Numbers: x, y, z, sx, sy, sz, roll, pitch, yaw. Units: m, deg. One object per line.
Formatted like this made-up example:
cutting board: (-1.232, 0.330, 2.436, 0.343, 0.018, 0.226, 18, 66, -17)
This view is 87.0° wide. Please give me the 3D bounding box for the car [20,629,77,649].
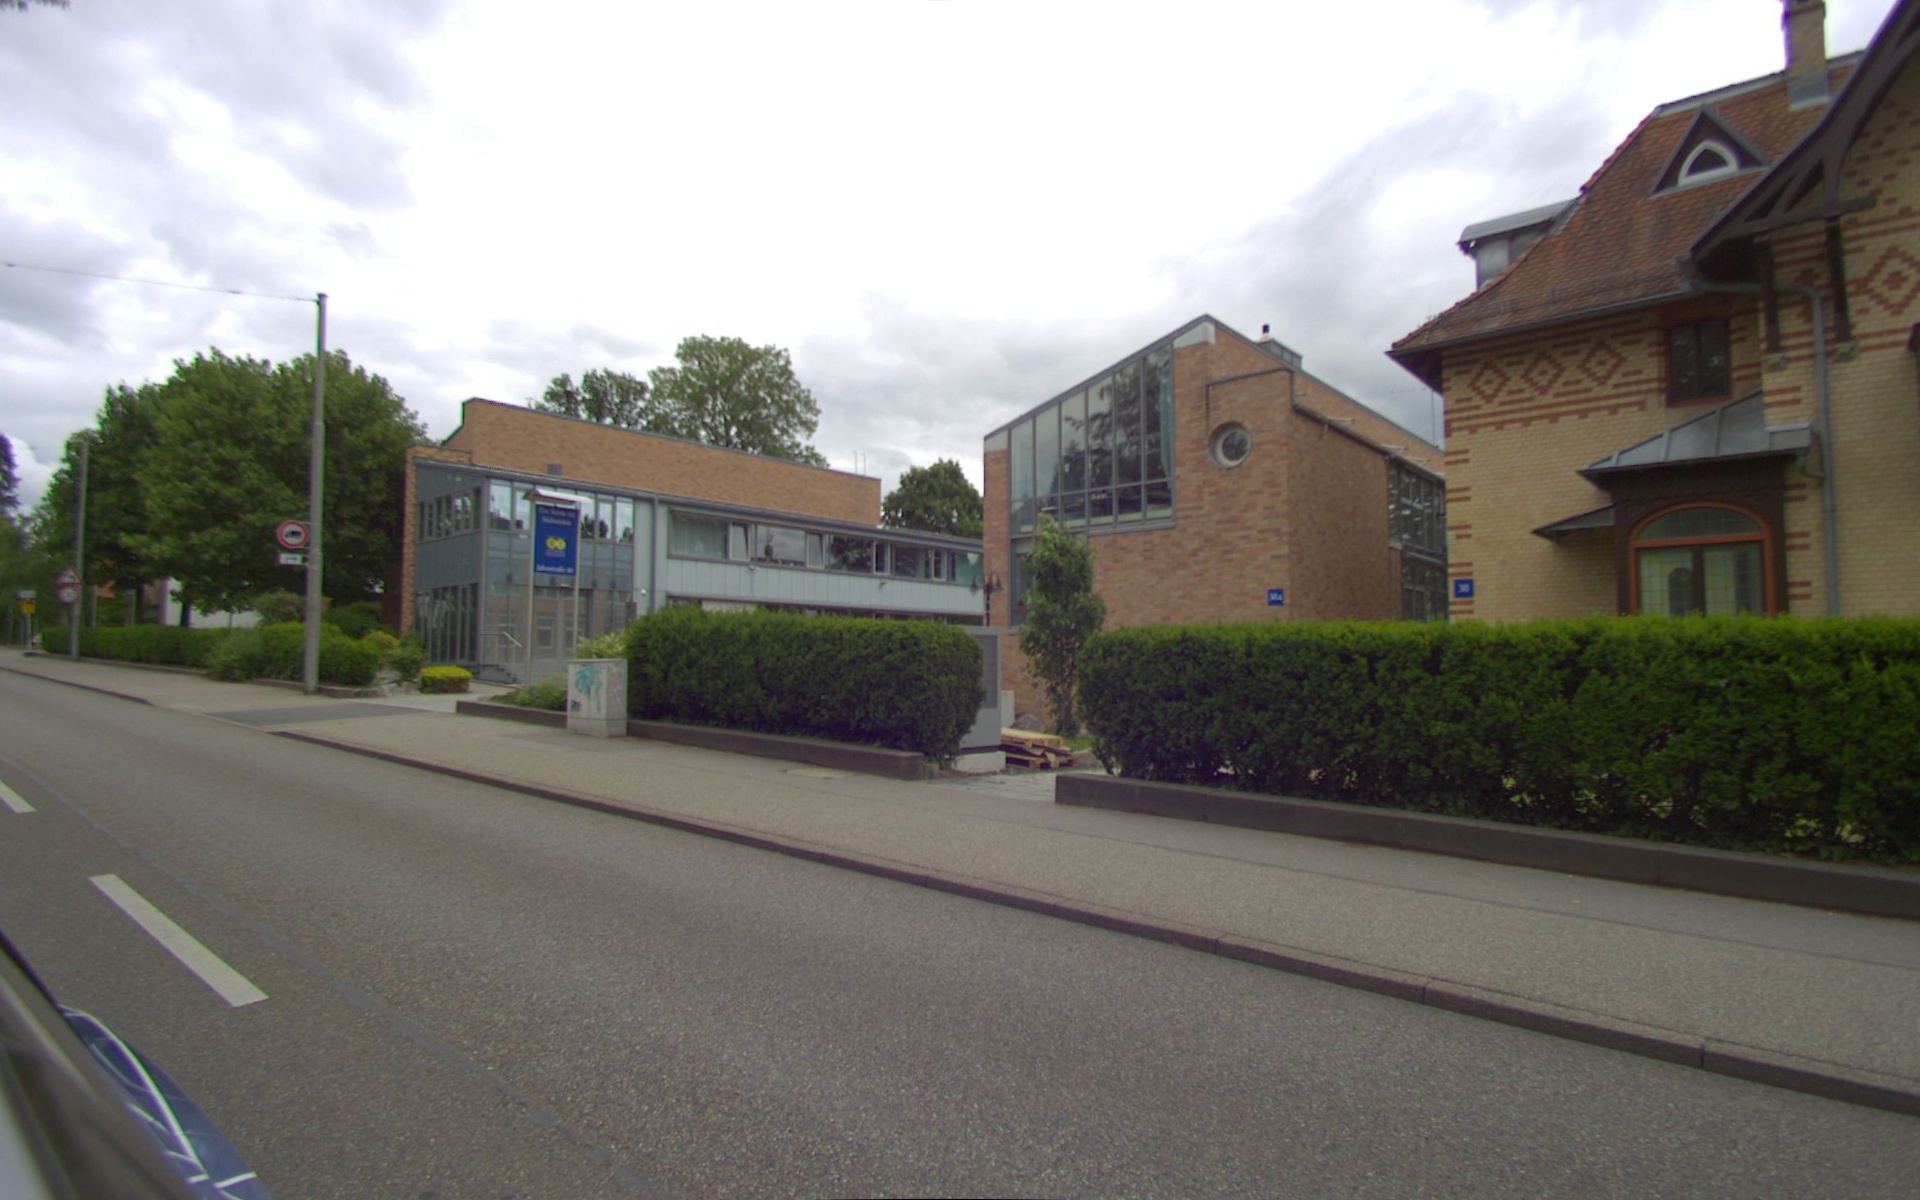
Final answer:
car: (-80.819, 3.480, 89.795, 1.967, 1.625, 4.009, 3, -4, -11)
